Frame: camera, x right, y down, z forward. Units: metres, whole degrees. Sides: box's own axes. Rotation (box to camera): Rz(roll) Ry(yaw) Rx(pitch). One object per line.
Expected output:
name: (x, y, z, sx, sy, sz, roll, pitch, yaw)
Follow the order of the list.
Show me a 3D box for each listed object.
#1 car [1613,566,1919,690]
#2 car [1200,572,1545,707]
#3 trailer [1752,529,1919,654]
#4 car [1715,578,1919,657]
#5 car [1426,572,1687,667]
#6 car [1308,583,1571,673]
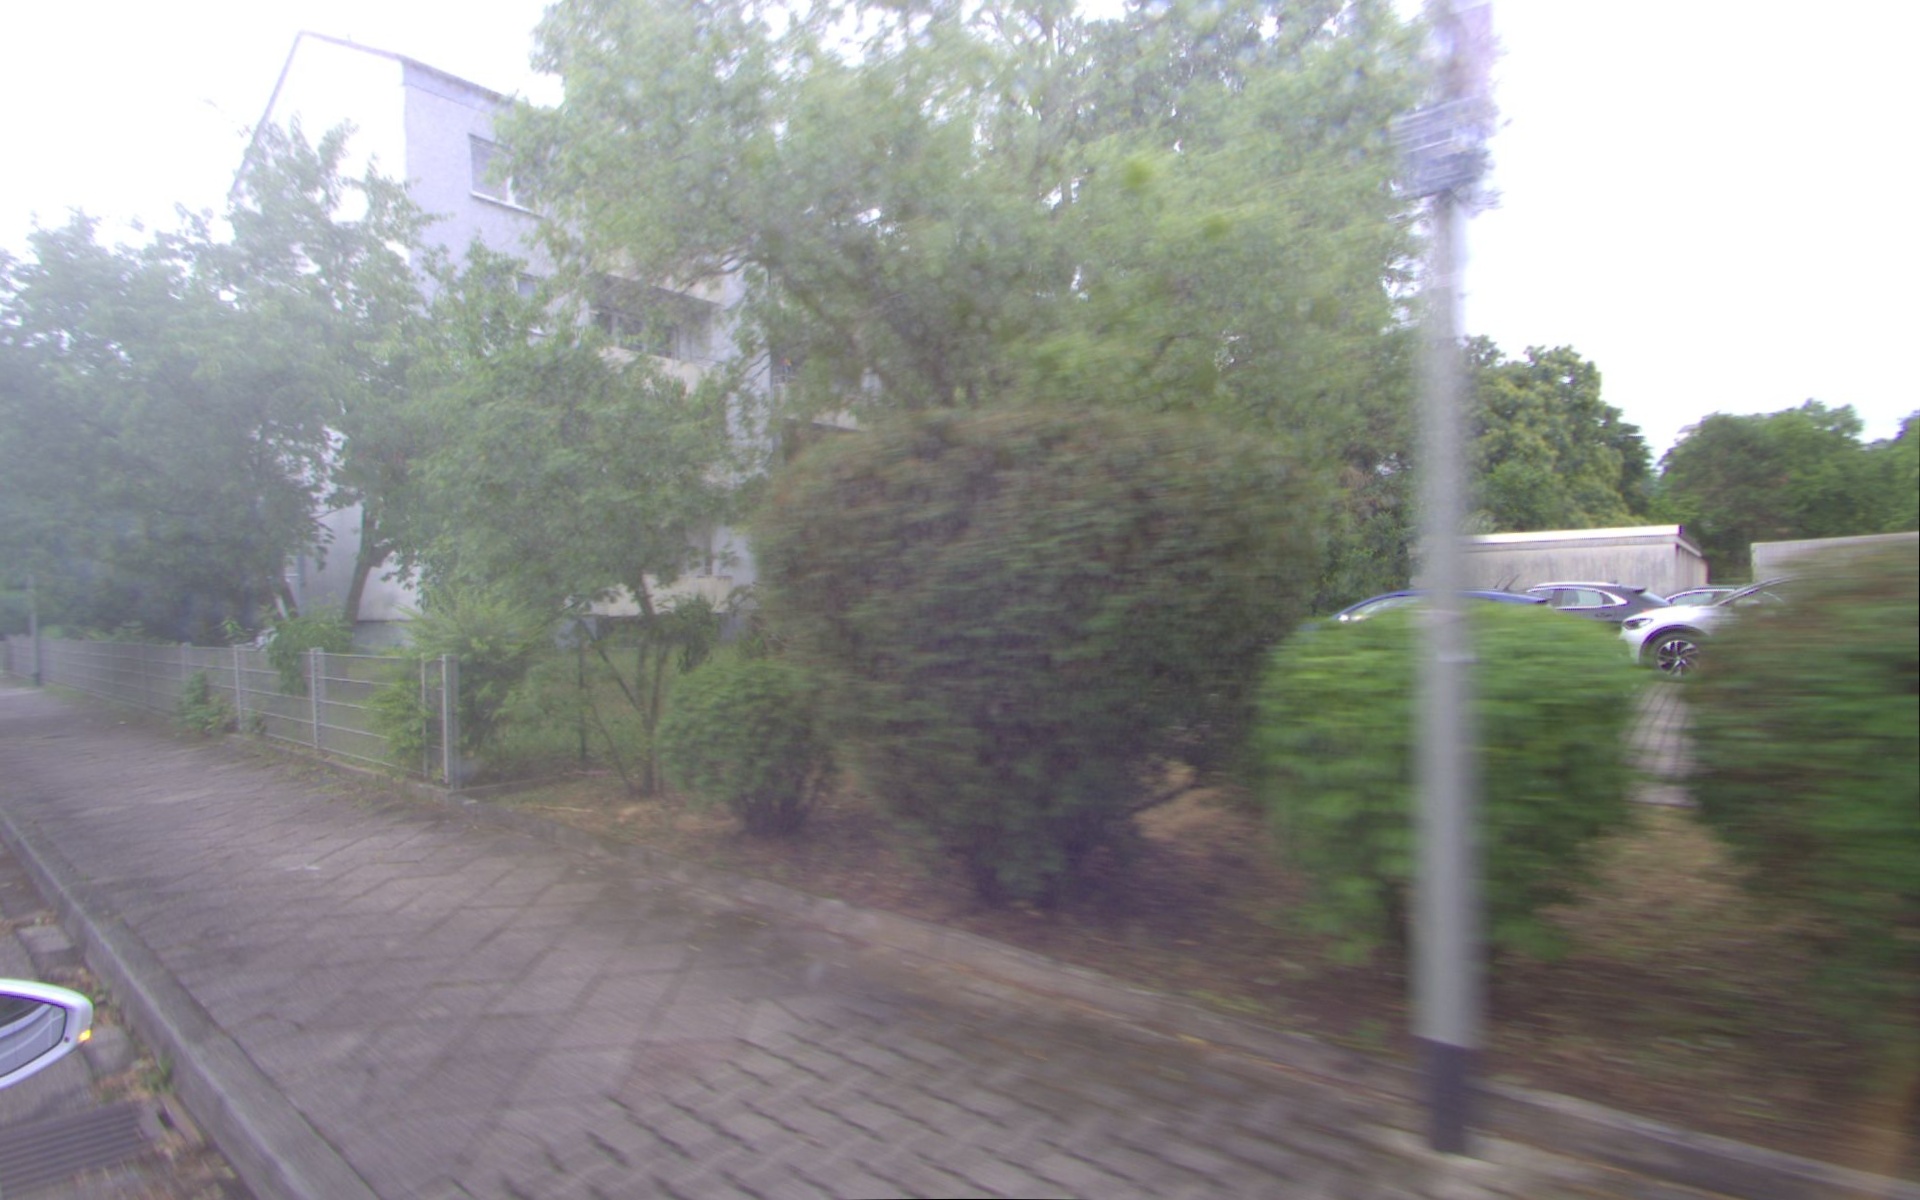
car: (12.196, 0.365, 14.411, 4.499, 1.610, 1.972, -1, 0, 41)
car: (5.422, 0.456, 13.323, 3.862, 1.531, 2.012, -1, 0, 39)
trailer: (19.944, -0.184, 21.531, 4.569, 2.558, 1.928, -1, 0, 39)
car: (17.515, 0.320, 19.819, 4.090, 1.468, 1.600, 0, 1, 38)
car: (10.934, 0.335, 18.477, 3.947, 1.573, 1.987, -1, 1, 35)
car: (8.385, 0.449, 17.615, 3.862, 1.399, 1.957, -1, 0, 39)
